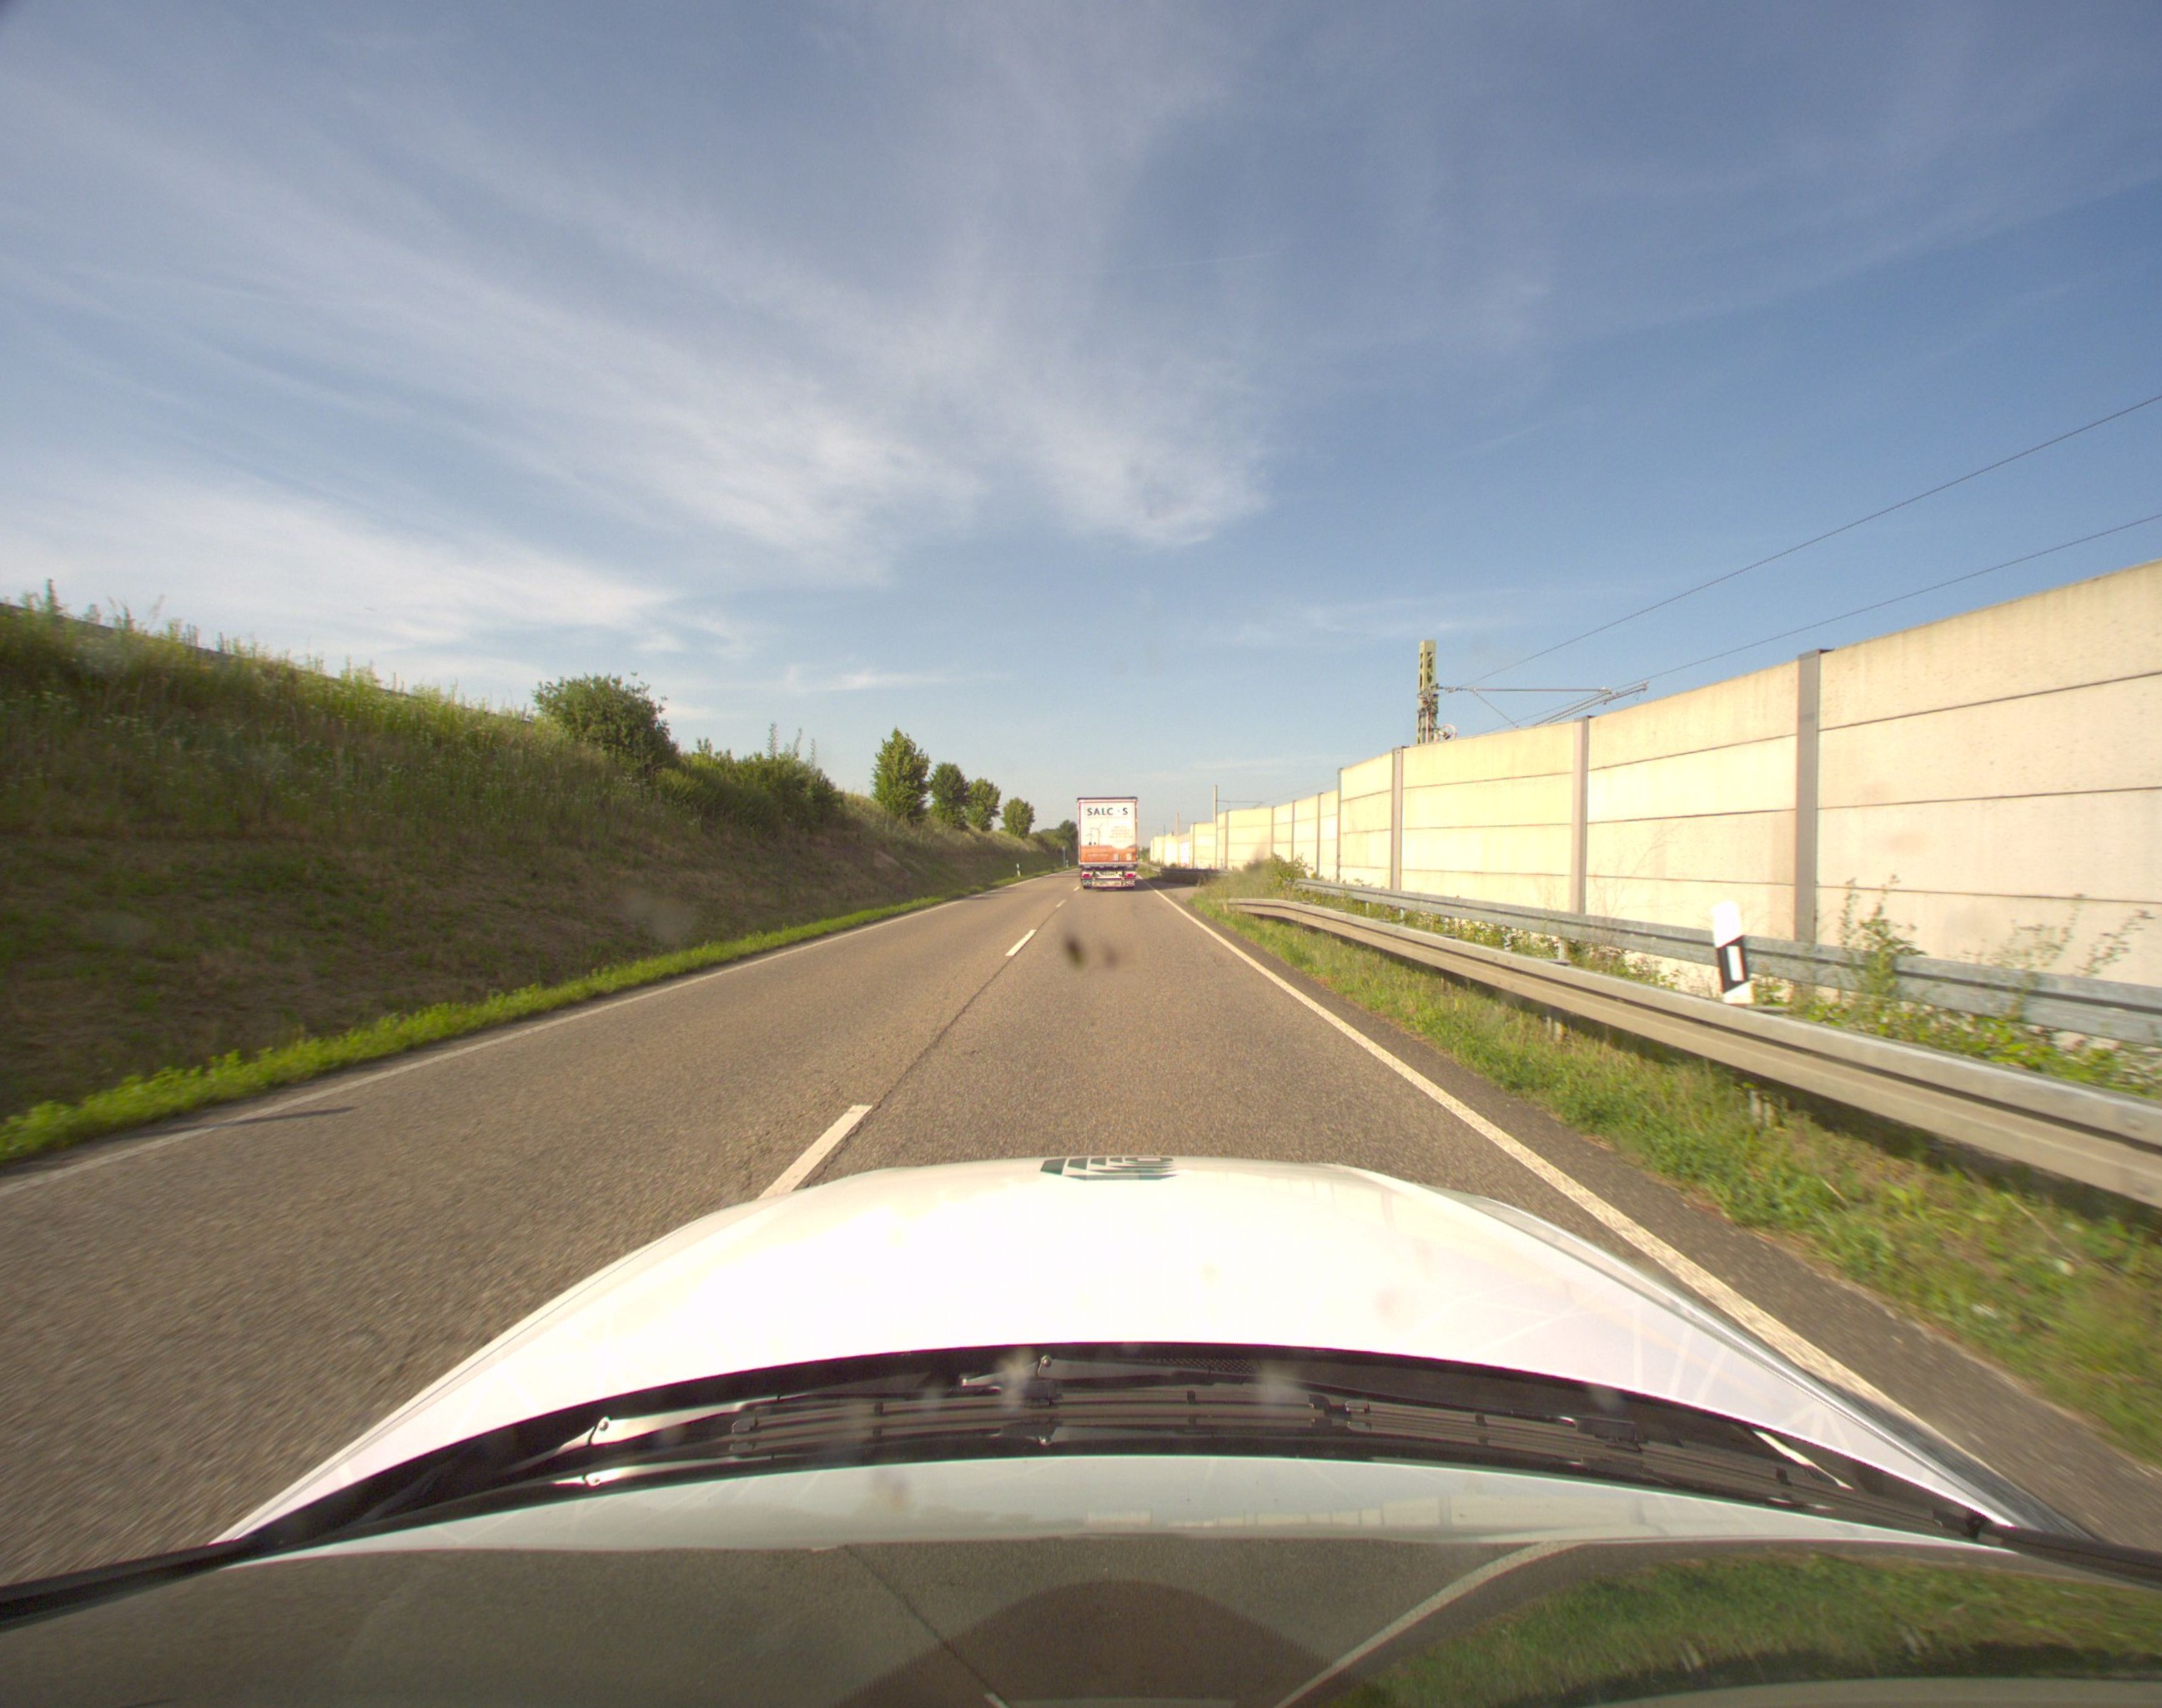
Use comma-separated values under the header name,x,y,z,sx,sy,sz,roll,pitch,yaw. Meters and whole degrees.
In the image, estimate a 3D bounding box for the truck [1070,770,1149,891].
name,x,y,z,sx,sy,sz,roll,pitch,yaw
truck,1.402,-1.021,40.834,3.278,5.090,12.042,-1,0,2
